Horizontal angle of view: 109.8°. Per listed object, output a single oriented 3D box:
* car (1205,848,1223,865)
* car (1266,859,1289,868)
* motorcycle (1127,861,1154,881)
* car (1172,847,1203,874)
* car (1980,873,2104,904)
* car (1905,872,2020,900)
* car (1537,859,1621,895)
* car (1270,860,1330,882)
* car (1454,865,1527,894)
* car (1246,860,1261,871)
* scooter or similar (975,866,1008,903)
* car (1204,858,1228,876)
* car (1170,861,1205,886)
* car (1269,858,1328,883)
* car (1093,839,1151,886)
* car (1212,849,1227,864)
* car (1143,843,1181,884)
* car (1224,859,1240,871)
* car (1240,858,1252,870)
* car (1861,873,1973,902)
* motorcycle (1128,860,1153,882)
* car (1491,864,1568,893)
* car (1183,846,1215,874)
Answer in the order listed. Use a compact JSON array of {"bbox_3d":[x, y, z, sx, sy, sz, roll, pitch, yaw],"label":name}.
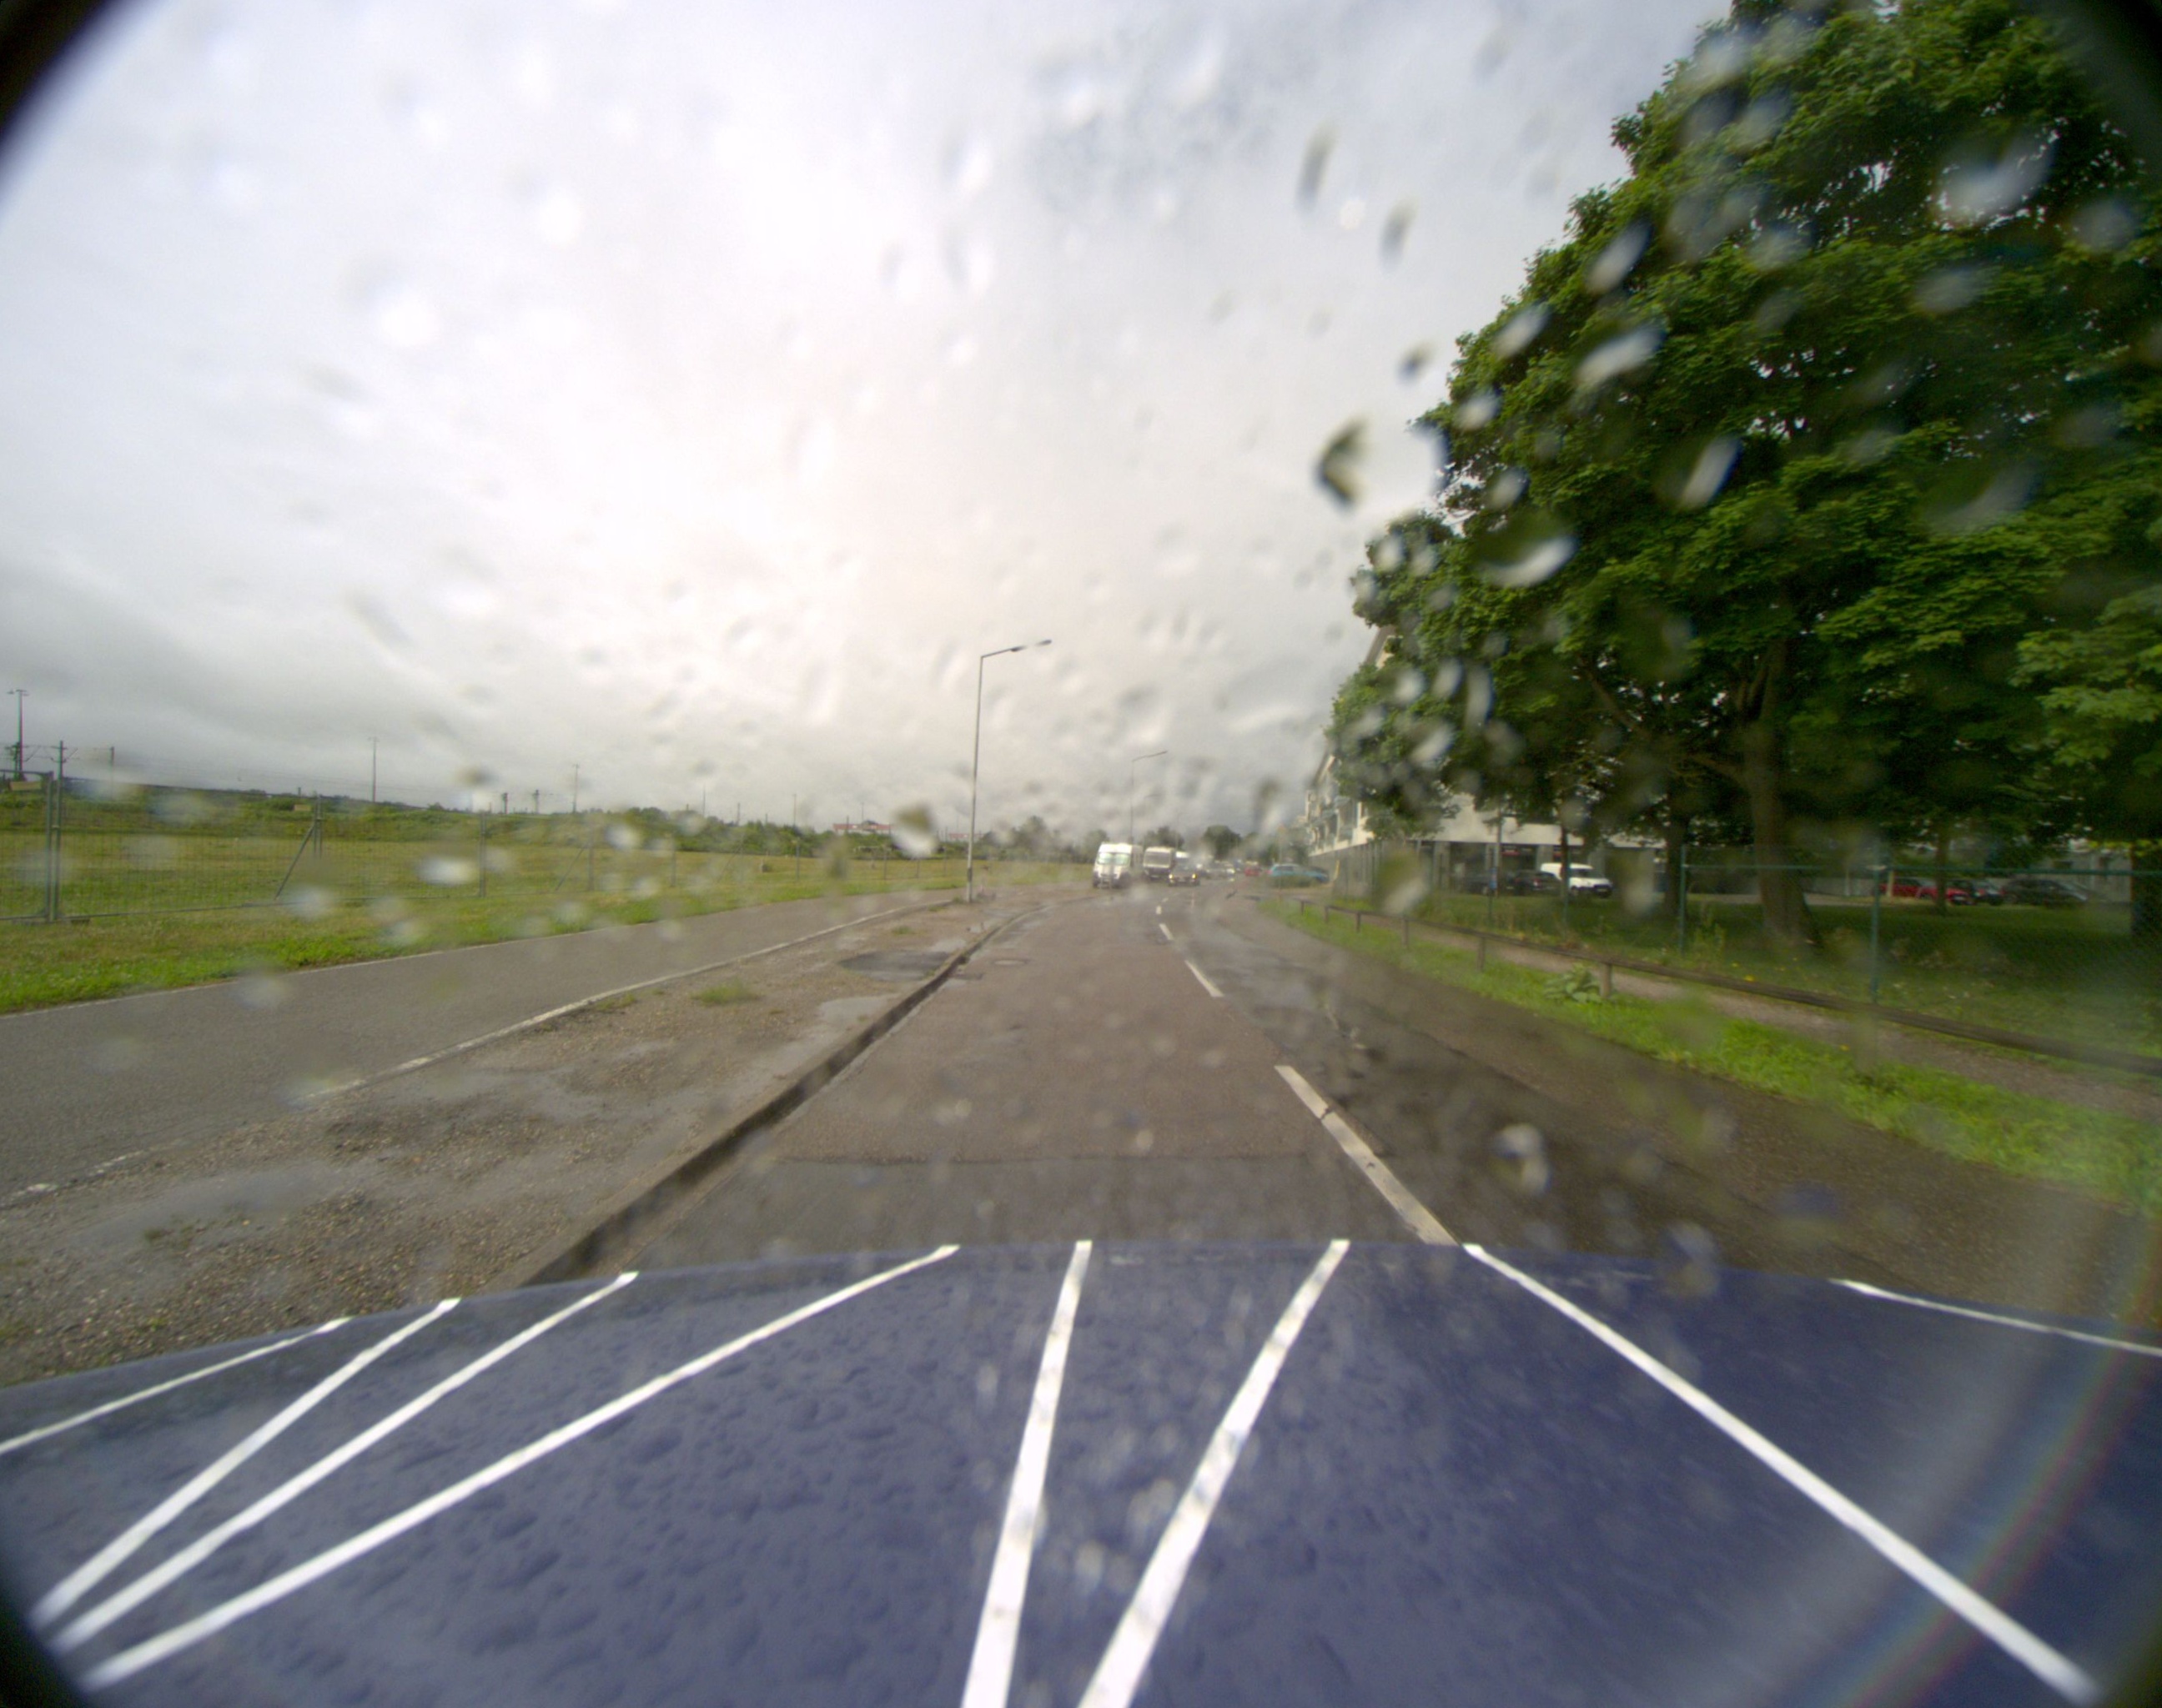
[{"bbox_3d":[18.235,0.361,103.707,1.996,2.228,4.569,2,0,14],"label":"car"},{"bbox_3d":[34.317,1.634,132.704,3.794,1.362,1.746,-2,0,13],"label":"car"},{"bbox_3d":[4.073,1.158,52.121,1.676,1.188,0.648,4,2,-8],"label":"motorcycle"},{"bbox_3d":[10.852,0.688,76.966,2.071,2.514,6.666,3,0,16],"label":"car"},{"bbox_3d":[54.503,1.935,43.222,1.643,1.526,4.183,-1,1,-3],"label":"car"},{"bbox_3d":[50.594,1.808,43.732,1.643,1.388,4.183,-1,1,-3],"label":"car"},{"bbox_3d":[27.611,1.243,42.322,1.643,1.825,4.348,-1,1,-3],"label":"car"},{"bbox_3d":[16.420,1.274,57.148,4.178,1.540,1.862,-1,0,13],"label":"car"},{"bbox_3d":[22.764,1.370,42.443,1.643,1.388,4.186,-1,1,-3],"label":"car"},{"bbox_3d":[22.581,1.470,99.254,1.659,1.459,3.394,1,0,17],"label":"car"},{"bbox_3d":[-3.074,1.038,26.115,0.491,1.208,1.342,2,0,23],"label":"scooter or similar"},{"bbox_3d":[13.636,1.271,76.709,2.008,1.695,4.334,1,0,15],"label":"car"},{"bbox_3d":[7.082,1.265,50.269,1.872,1.510,4.362,0,-1,13],"label":"car"},{"bbox_3d":[15.004,1.123,52.544,3.815,1.624,1.757,-2,0,16],"label":"car"},{"bbox_3d":[2.447,0.449,43.555,2.094,2.458,5.954,3,1,14],"label":"car"},{"bbox_3d":[21.200,0.379,116.231,1.996,2.228,4.569,2,0,14],"label":"car"},{"bbox_3d":[6.435,0.716,59.676,2.147,2.867,5.281,4,1,13],"label":"car"},{"bbox_3d":[19.240,1.378,96.604,1.839,1.510,4.362,2,0,13],"label":"car"},{"bbox_3d":[29.143,1.824,134.473,1.997,2.002,4.004,-2,0,12],"label":"car"},{"bbox_3d":[47.602,1.886,43.378,1.643,1.388,4.183,-1,1,-3],"label":"car"},{"bbox_3d":[3.974,1.137,51.015,1.646,1.367,0.721,2,1,2],"label":"motorcycle"},{"bbox_3d":[24.986,1.337,42.486,1.688,1.388,4.127,-1,1,-3],"label":"car"},{"bbox_3d":[13.448,0.644,86.233,2.473,2.938,6.896,3,0,17],"label":"car"}]
